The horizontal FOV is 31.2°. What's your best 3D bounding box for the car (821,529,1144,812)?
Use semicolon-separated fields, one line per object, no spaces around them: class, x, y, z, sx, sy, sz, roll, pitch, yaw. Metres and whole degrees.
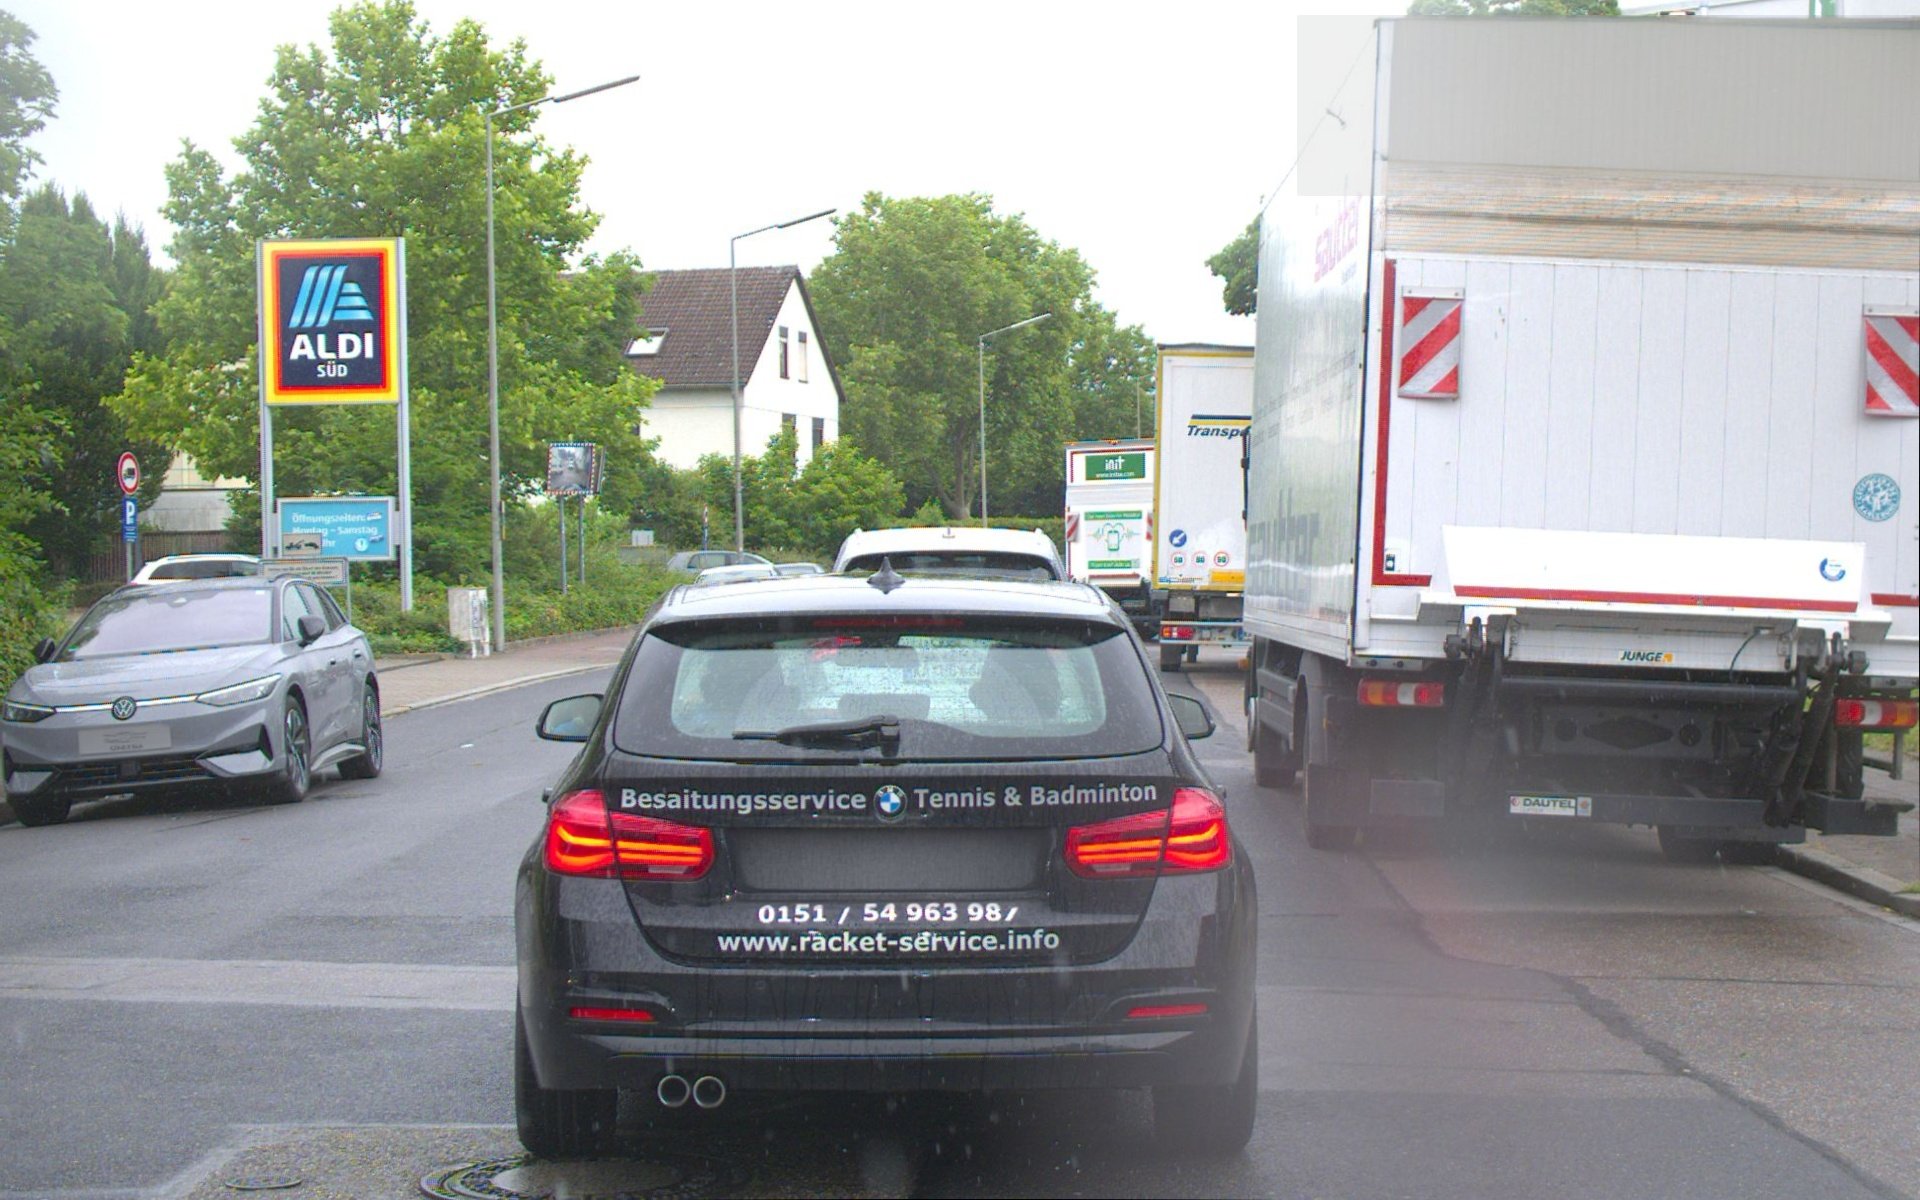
car;0.078;0.375;21.205;1.804;1.581;4.000;0;1;-1

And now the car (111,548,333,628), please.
car;-14.716;-0.259;68.715;3.987;1.535;1.910;-1;1;2

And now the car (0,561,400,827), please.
car;-5.212;0.563;23.829;1.809;1.523;4.748;-4;1;0

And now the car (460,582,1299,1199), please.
car;-0.221;0.657;9.403;1.804;1.390;4.000;0;1;-1

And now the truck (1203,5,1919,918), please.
truck;3.057;-0.656;19.177;2.741;3.776;9.299;2;1;1

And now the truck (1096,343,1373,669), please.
truck;3.248;-1.127;42.648;2.741;3.598;7.750;2;1;0

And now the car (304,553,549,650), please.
car;-8.477;0.011;54.768;3.570;1.455;1.712;1;1;2

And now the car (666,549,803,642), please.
car;-3.681;-0.107;56.882;1.705;1.362;4.601;-3;1;2

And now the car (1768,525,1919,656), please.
car;11.645;-0.123;38.628;4.671;1.463;1.787;0;1;39

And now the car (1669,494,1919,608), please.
car;16.241;-0.870;62.001;6.452;2.007;2.000;0;0;-4

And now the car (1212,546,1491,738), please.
car;3.146;0.290;28.398;1.797;1.436;4.345;-1;1;0

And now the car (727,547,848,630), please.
car;-3.123;-0.233;62.989;1.706;1.362;3.838;-3;1;4

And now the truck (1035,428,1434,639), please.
truck;4.735;-1.156;57.815;2.347;3.245;7.731;5;4;42
